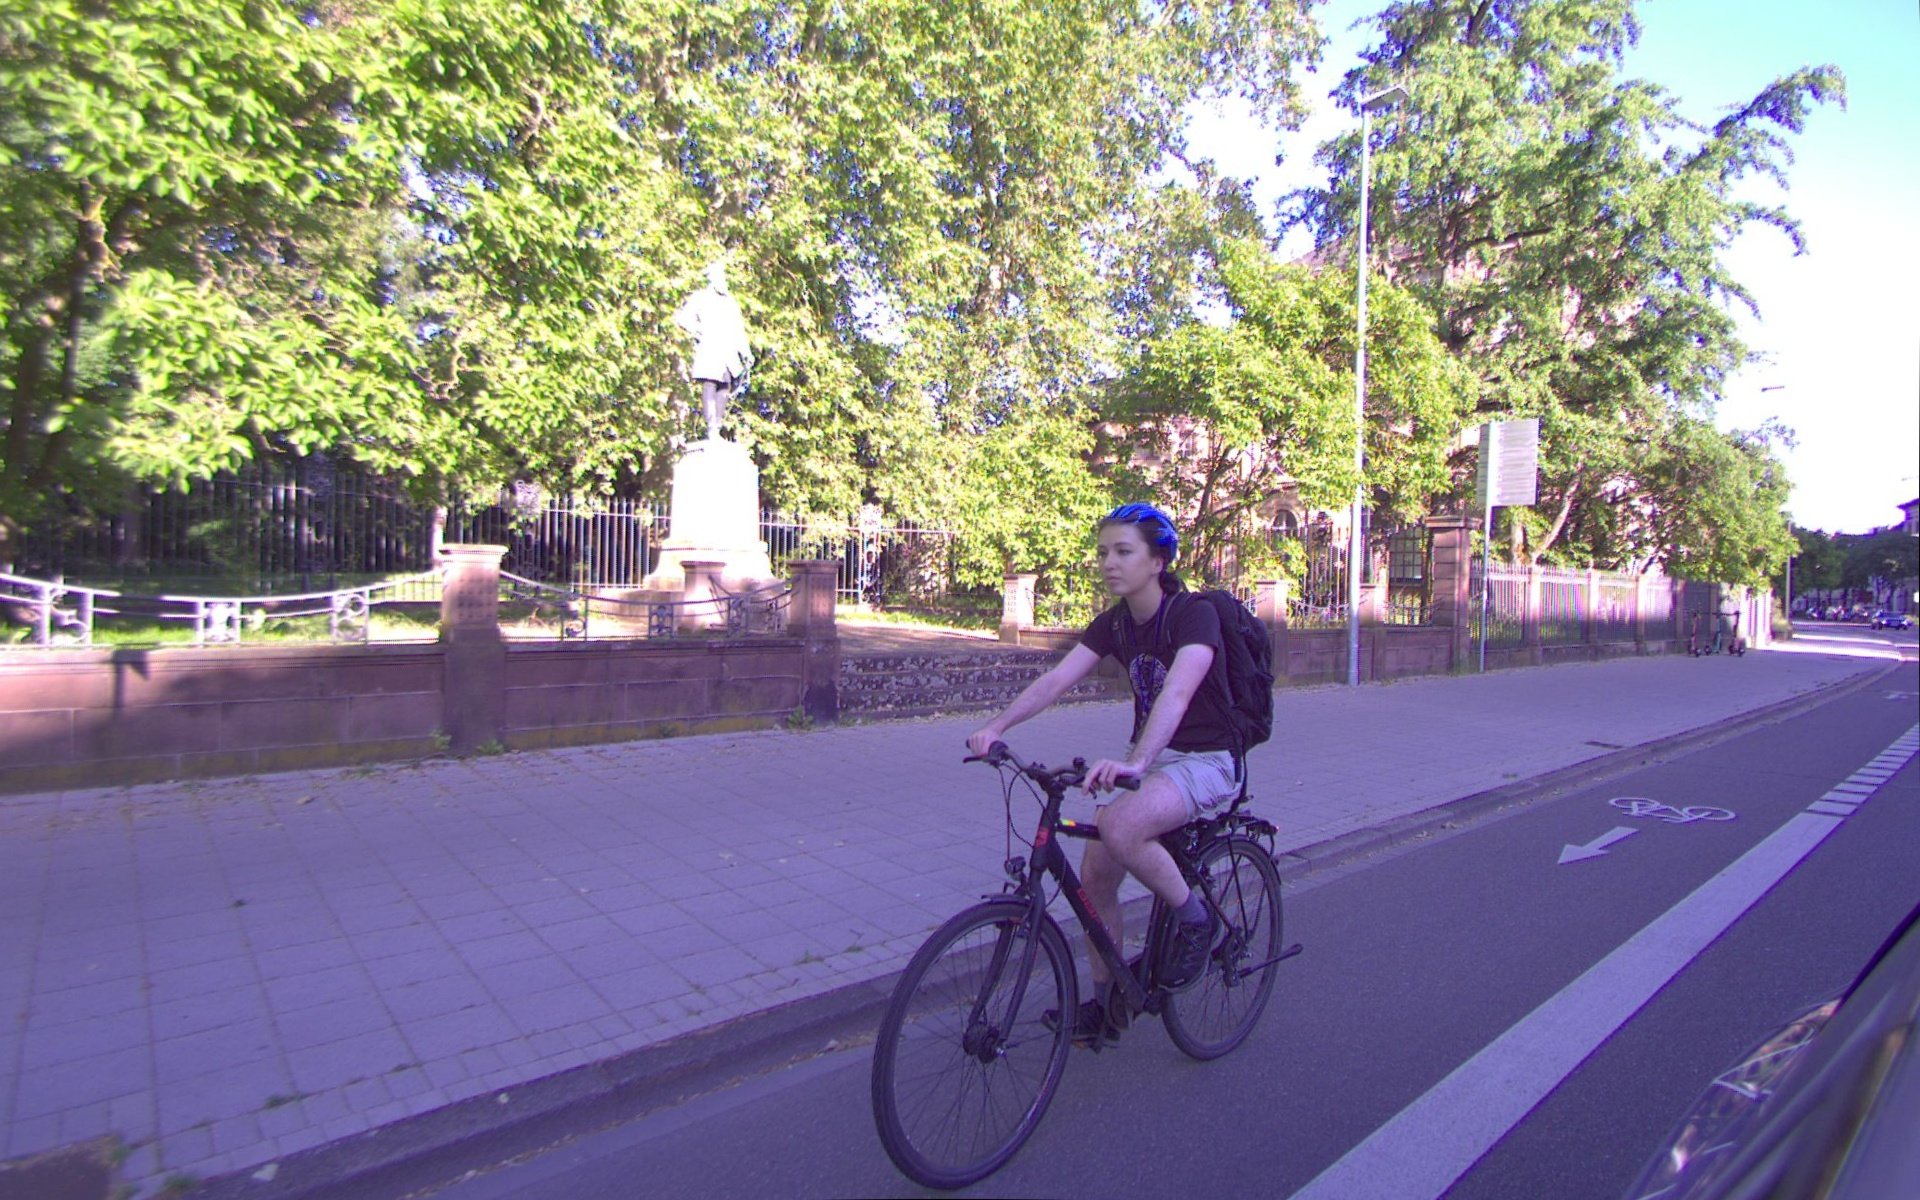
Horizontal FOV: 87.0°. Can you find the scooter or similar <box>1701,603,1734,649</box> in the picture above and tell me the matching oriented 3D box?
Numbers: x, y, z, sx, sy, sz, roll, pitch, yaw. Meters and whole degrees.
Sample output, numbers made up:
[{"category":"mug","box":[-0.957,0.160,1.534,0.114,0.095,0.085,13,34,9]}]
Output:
[{"category":"scooter or similar","box":[20.695,0.696,27.648,0.574,1.199,1.465,2,1,41]}]

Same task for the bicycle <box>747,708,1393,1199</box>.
[{"category":"bicycle","box":[0.459,0.918,2.925,2.045,1.022,0.669,0,0,-42]}]

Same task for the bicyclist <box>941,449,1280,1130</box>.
[{"category":"bicyclist","box":[0.431,0.450,2.902,0.708,1.622,0.666,1,-1,-42]}]

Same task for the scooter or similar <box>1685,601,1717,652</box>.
[{"category":"scooter or similar","box":[19.341,0.678,26.431,0.572,1.269,1.470,2,1,33]}]

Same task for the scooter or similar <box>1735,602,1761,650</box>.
[{"category":"scooter or similar","box":[21.797,0.707,27.991,0.514,1.255,1.502,2,1,37]}]

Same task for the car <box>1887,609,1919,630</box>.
[{"category":"car","box":[72.525,1.473,77.857,1.705,1.422,4.198,3,2,43]}]
